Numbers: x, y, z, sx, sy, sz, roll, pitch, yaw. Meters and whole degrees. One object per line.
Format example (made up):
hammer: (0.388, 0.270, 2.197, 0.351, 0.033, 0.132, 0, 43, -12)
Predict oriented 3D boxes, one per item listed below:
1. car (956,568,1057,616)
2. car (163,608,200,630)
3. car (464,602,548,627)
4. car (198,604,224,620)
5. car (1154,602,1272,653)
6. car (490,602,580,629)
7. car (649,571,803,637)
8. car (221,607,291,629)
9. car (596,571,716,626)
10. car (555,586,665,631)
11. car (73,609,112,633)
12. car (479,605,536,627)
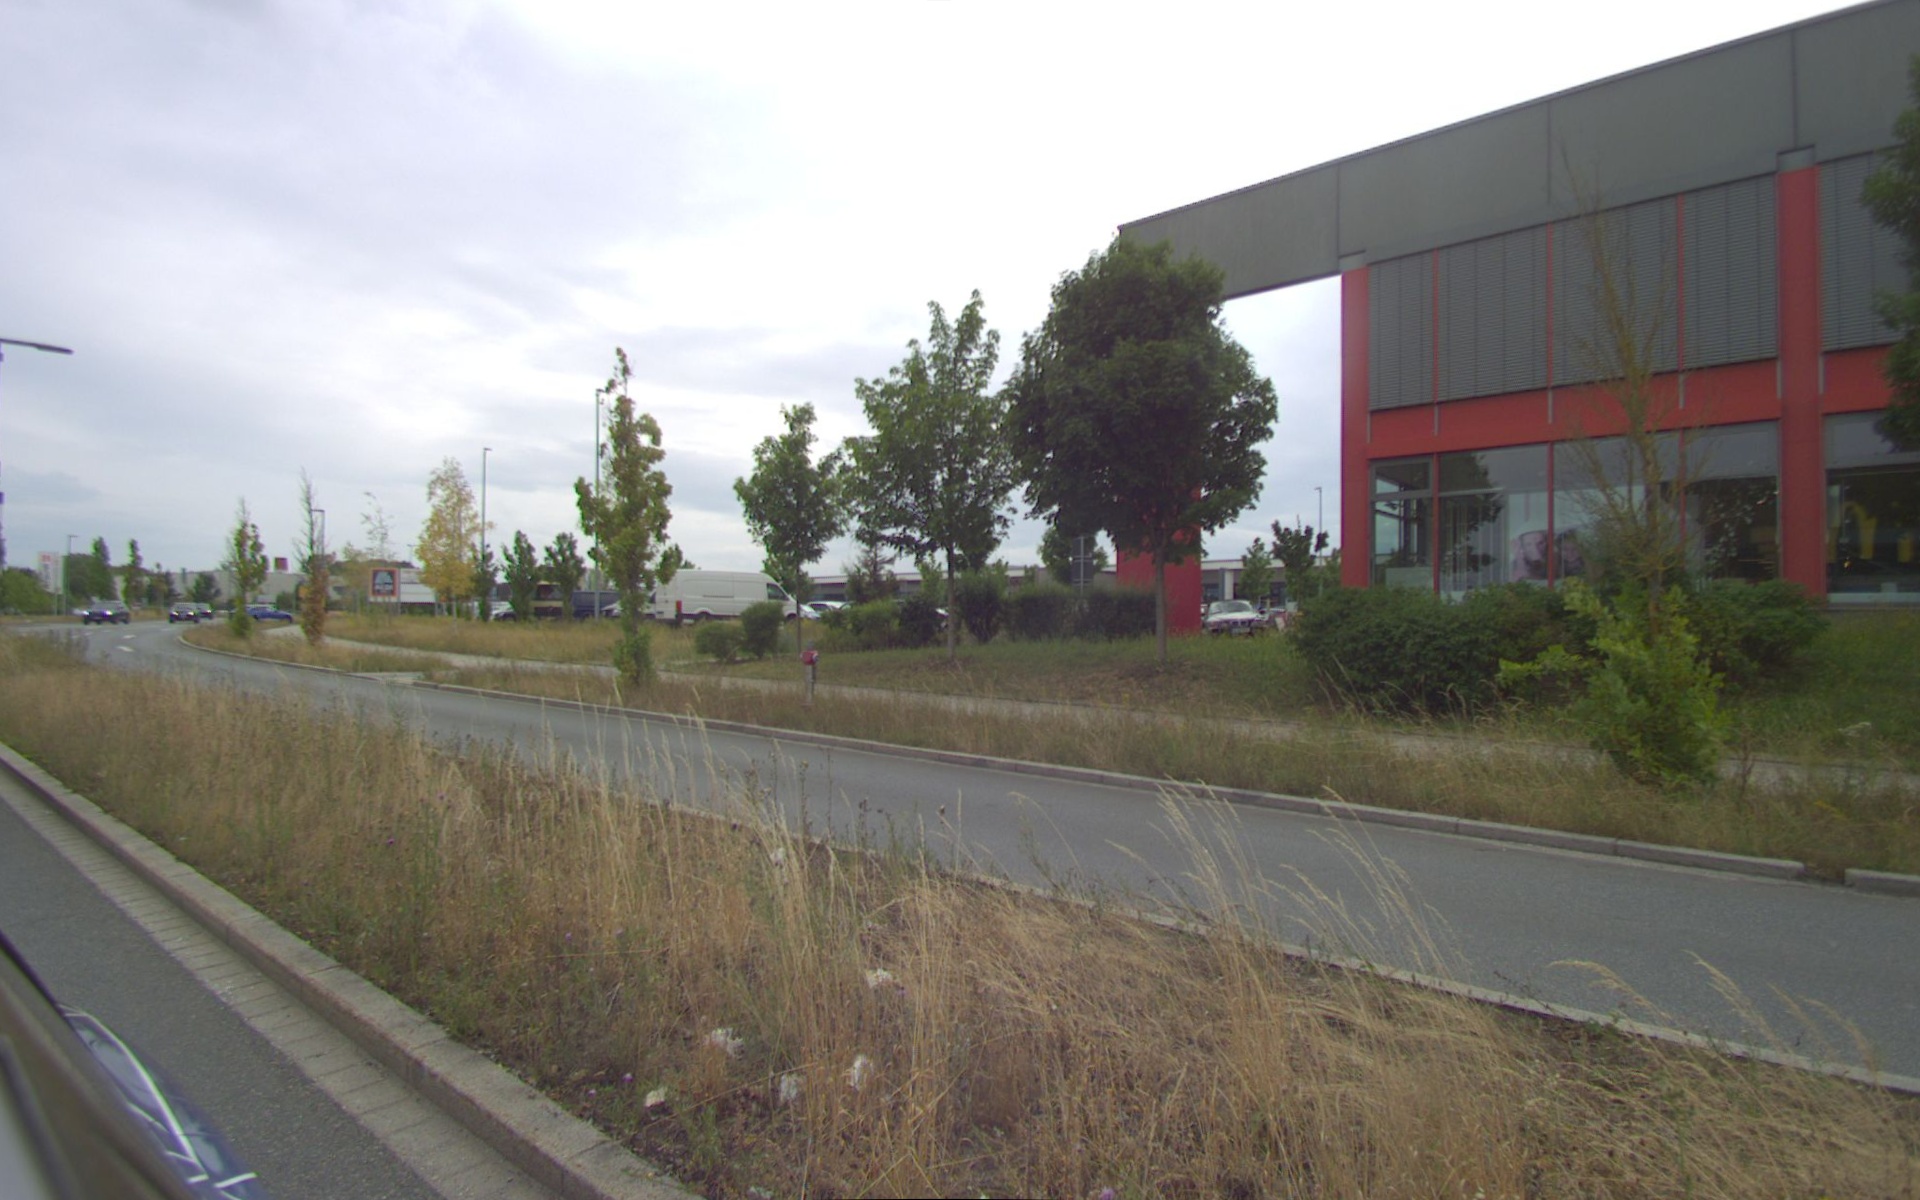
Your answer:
car: (2.422, -0.413, 53.197, 5.049, 2.390, 2.039, 0, 0, 37)
car: (-60.607, 1.433, 78.869, 1.966, 1.586, 4.011, 0, 0, -33)
car: (-31.971, 1.055, 71.347, 4.977, 1.669, 2.068, 2, -2, -40)
car: (-76.791, 1.248, 103.728, 1.968, 1.586, 4.008, 0, 0, -39)
car: (6.786, 0.698, 27.269, 2.860, 1.279, 1.245, 0, 0, 42)
car: (-27.384, 1.039, 65.274, 4.977, 1.669, 2.068, 2, -2, -40)
car: (-9.881, 0.144, 43.223, 2.065, 2.644, 6.327, 0, 0, 44)
car: (-51.573, 1.343, 74.211, 1.721, 1.524, 3.976, 0, -2, 18)
car: (-13.854, -0.072, 46.403, 2.063, 2.390, 4.989, 0, 0, 41)
car: (-18.249, 0.472, 52.930, 4.980, 2.240, 2.067, 2, -2, -42)
car: (-61.758, 1.464, 72.074, 1.968, 1.586, 4.008, 0, 0, -39)
car: (-36.543, 1.270, 81.727, 3.933, 1.683, 2.005, -1, -1, -34)
